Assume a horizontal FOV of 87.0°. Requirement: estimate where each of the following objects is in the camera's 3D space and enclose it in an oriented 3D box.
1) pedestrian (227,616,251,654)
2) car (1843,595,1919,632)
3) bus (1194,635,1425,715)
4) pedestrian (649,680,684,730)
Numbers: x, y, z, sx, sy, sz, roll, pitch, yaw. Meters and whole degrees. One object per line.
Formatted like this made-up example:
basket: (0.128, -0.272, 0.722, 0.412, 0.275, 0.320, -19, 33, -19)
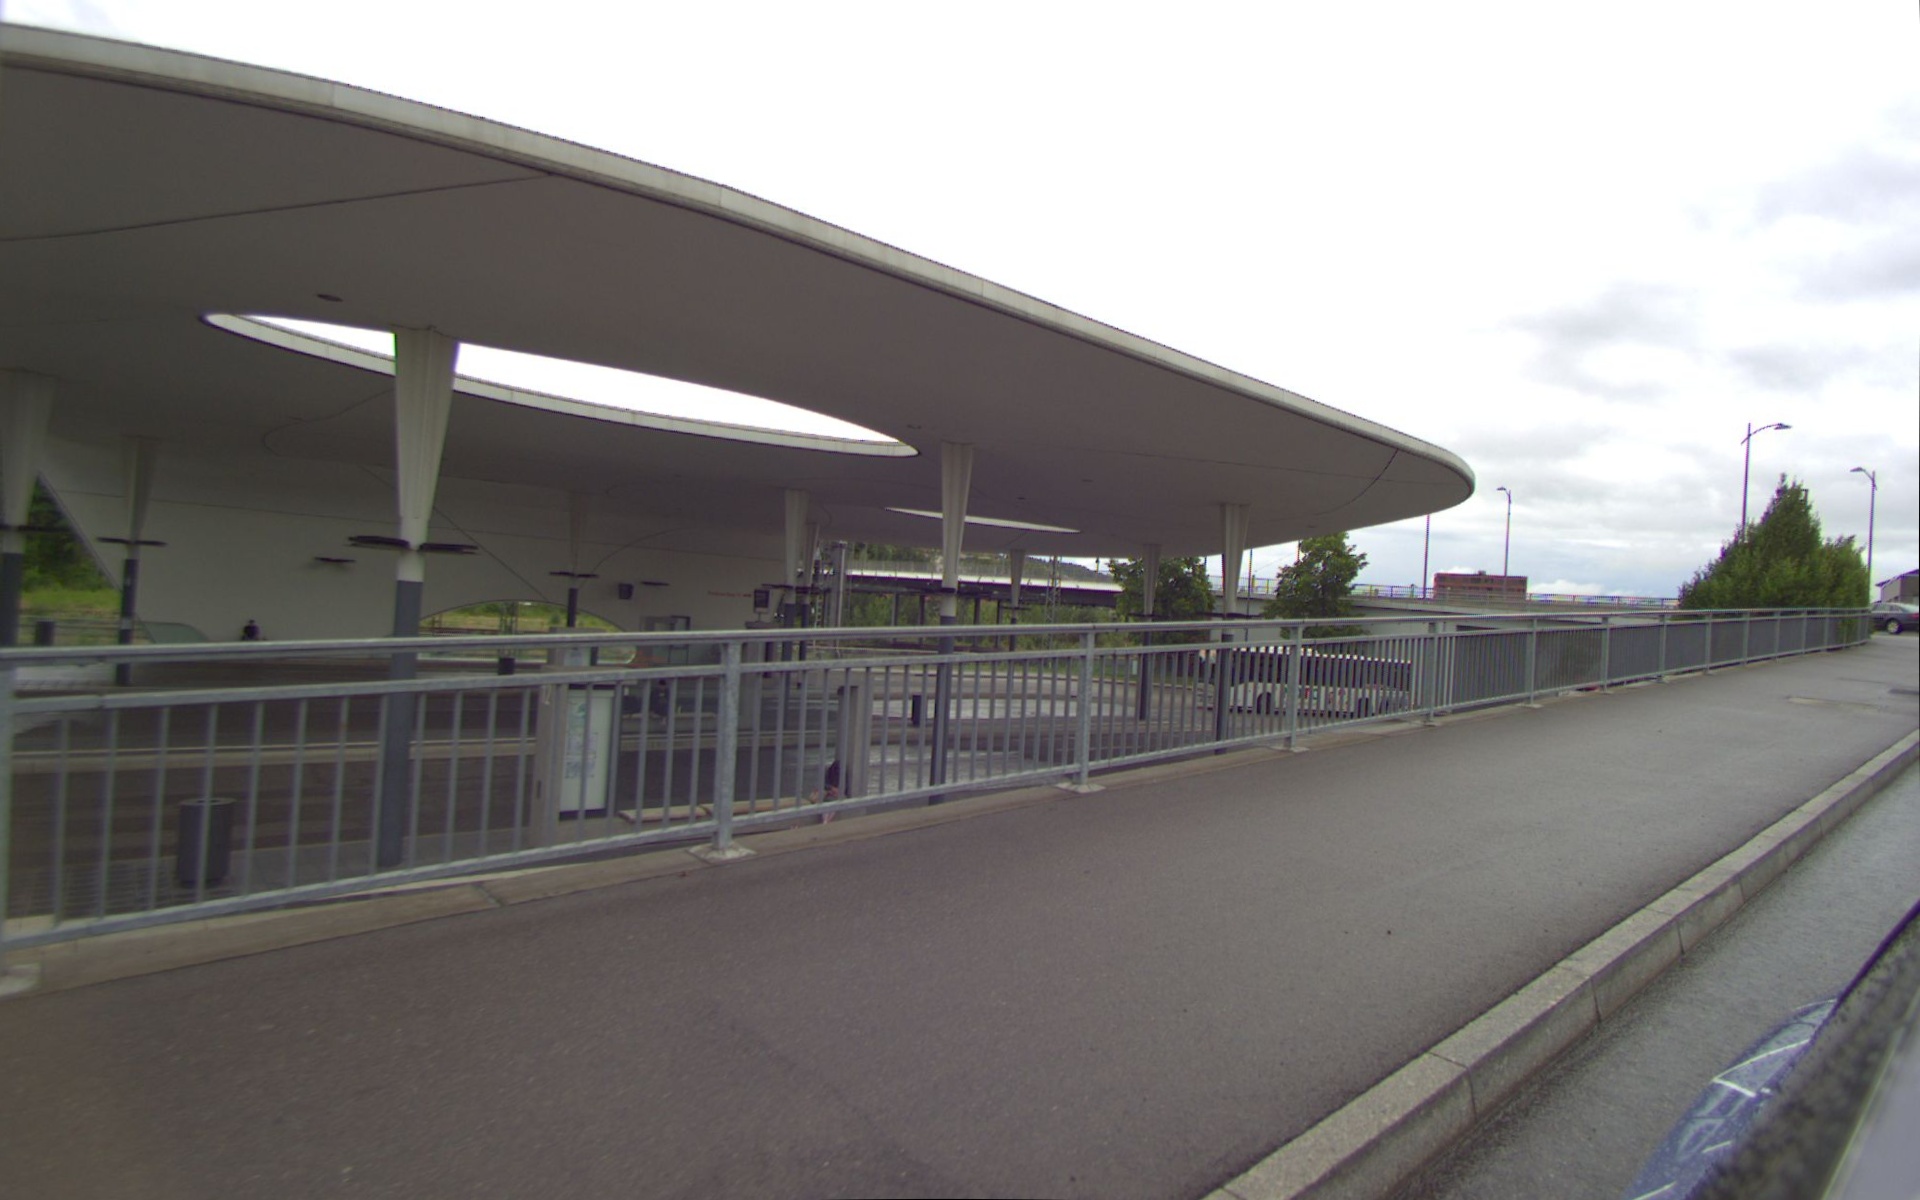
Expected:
pedestrian: (-26.075, 1.247, 36.603, 0.698, 1.341, 0.801, 0, 0, -35)
car: (43.123, 0.630, 46.201, 1.641, 1.509, 4.460, 1, 2, 0)
bus: (17.486, 3.602, 50.338, 11.887, 3.298, 2.803, -1, 0, -21)
pedestrian: (-7.405, 2.639, 25.533, 0.658, 1.178, 0.535, 0, -1, -44)
